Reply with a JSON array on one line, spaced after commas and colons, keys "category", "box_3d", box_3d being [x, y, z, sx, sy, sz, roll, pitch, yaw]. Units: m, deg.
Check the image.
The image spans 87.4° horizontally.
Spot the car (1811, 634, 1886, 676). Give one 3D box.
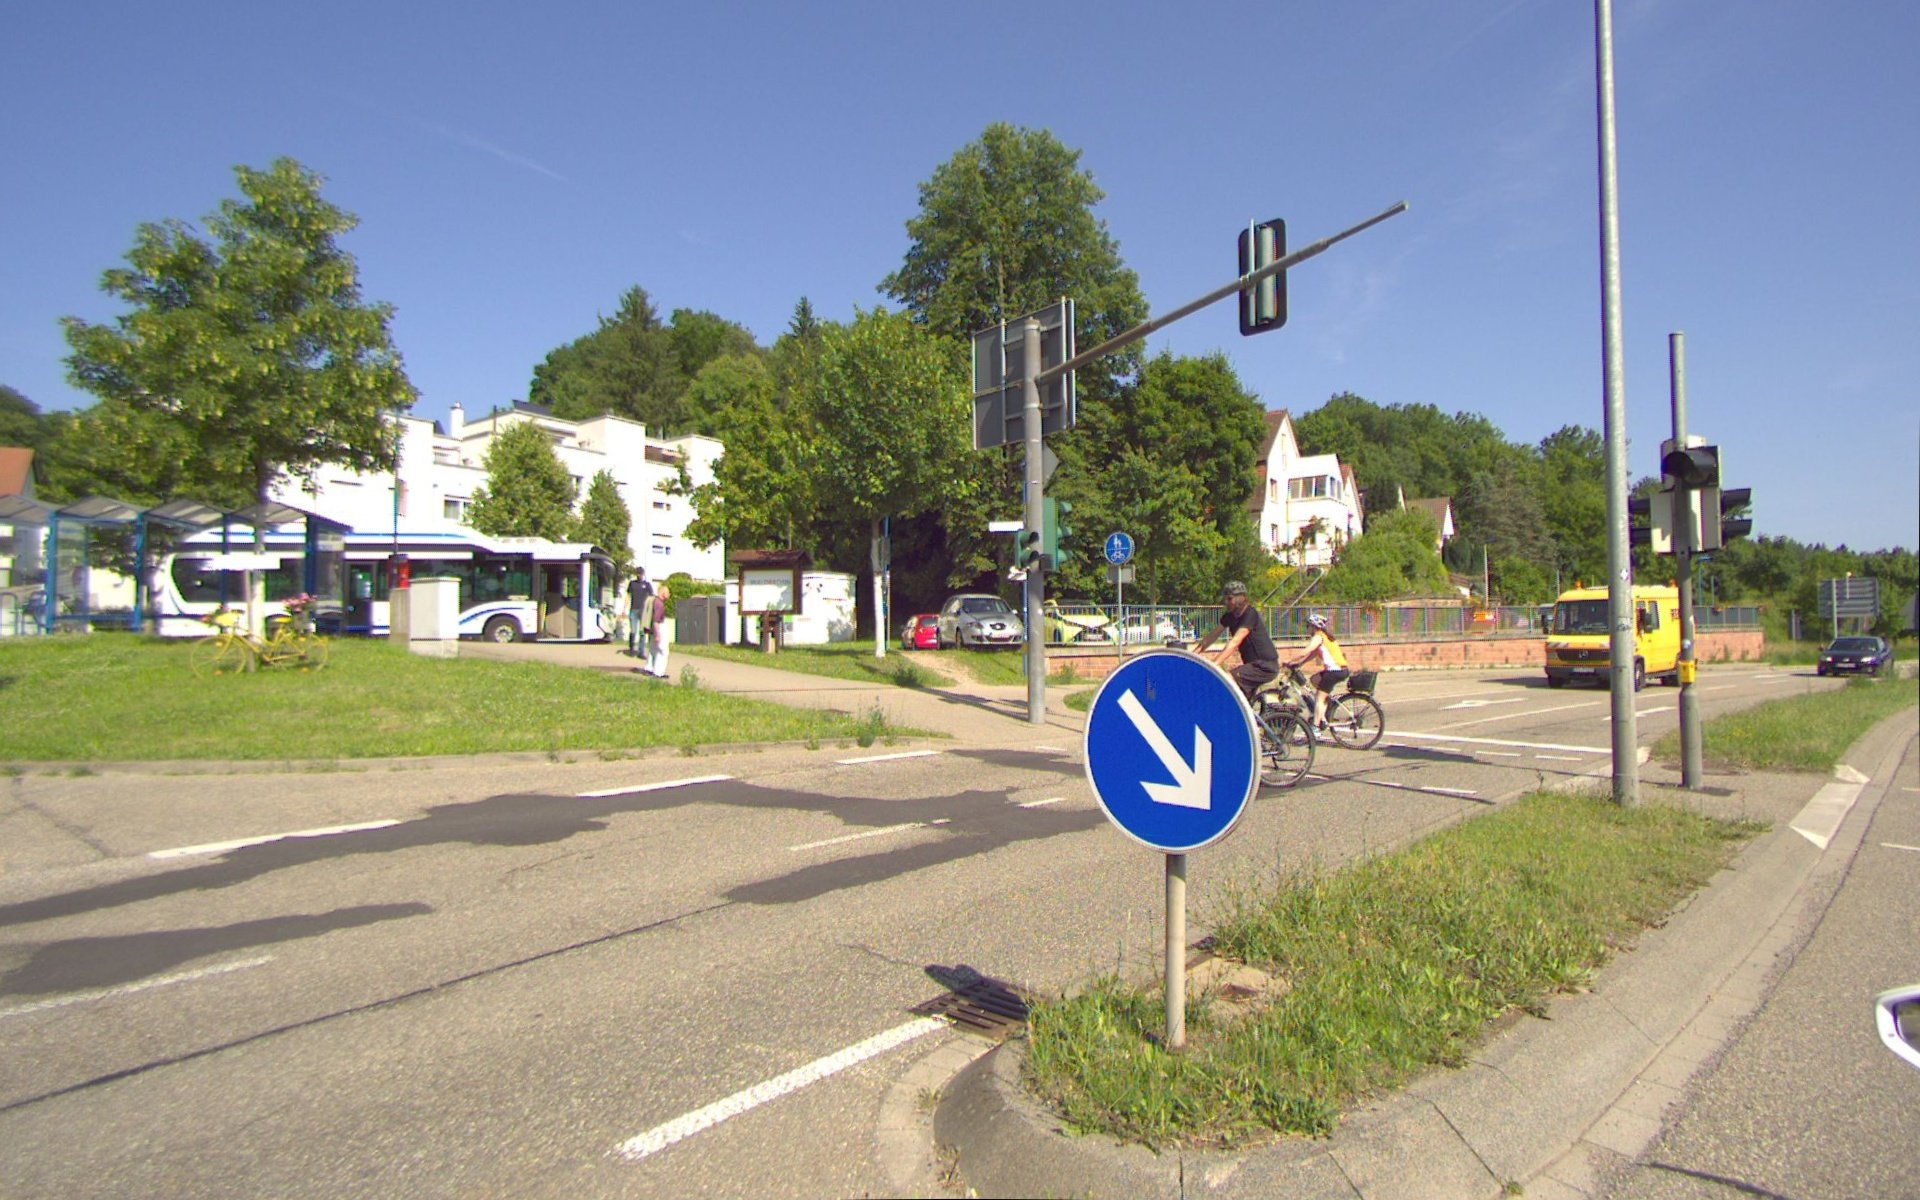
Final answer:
[{"category": "car", "box_3d": [32.625, 1.985, 36.856, 4.016, 1.481, 1.729, 2, -3, -44]}]

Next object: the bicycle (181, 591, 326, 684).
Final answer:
[{"category": "bicycle", "box_3d": [-10.635, 0.529, 15.157, 1.742, 1.273, 0.613, -2, 4, -40]}]

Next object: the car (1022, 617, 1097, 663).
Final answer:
[{"category": "car", "box_3d": [3.933, 1.565, 40.292, 1.964, 1.694, 3.992, 0, 0, -10]}]

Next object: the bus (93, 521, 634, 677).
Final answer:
[{"category": "bus", "box_3d": [-15.081, 0.026, 26.442, 11.994, 3.763, 2.865, 0, 0, -9]}]

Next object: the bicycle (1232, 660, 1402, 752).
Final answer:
[{"category": "bicycle", "box_3d": [4.644, 1.353, 13.128, 1.940, 1.078, 0.732, -3, -1, 35]}]

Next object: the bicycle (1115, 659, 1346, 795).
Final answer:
[{"category": "bicycle", "box_3d": [2.498, 1.169, 9.425, 1.961, 1.178, 0.735, 0, 0, -2]}]

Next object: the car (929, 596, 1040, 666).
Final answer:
[{"category": "car", "box_3d": [0.565, 0.778, 27.306, 2.021, 1.719, 4.405, 1, 0, -12]}]

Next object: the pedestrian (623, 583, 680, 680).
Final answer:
[{"category": "pedestrian", "box_3d": [-5.550, 0.552, 18.093, 0.736, 1.700, 0.703, 0, 0, -45]}]

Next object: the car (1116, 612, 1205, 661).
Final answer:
[{"category": "car", "box_3d": [8.291, 1.474, 41.867, 1.885, 1.900, 3.982, 0, 0, -20]}]

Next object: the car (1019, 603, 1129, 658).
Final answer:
[{"category": "car", "box_3d": [3.103, 0.809, 28.085, 1.881, 1.400, 3.990, 0, 0, -12]}]

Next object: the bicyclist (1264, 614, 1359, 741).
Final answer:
[{"category": "bicyclist", "box_3d": [4.617, 0.991, 13.198, 0.942, 1.585, 0.803, -2, -1, 38]}]

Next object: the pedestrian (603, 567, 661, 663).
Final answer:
[{"category": "pedestrian", "box_3d": [-6.870, 0.312, 21.025, 0.731, 1.933, 0.852, 3, 1, 44]}]

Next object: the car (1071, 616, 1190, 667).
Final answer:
[{"category": "car", "box_3d": [6.317, 1.543, 37.364, 3.930, 1.813, 1.918, 1, -2, -12]}]

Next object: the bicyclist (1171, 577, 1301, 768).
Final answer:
[{"category": "bicyclist", "box_3d": [2.573, 0.656, 9.447, 0.974, 1.713, 0.807, 0, 0, -2]}]

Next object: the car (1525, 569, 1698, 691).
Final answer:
[{"category": "car", "box_3d": [18.357, 0.846, 28.141, 6.417, 3.050, 2.445, 2, -1, -41]}]

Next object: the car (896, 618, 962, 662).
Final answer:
[{"category": "car", "box_3d": [-1.272, 1.521, 39.499, 1.881, 1.581, 3.990, 0, 0, -12]}]

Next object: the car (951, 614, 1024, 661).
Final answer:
[{"category": "car", "box_3d": [1.042, 1.445, 40.189, 1.882, 1.723, 3.987, 0, 0, -15]}]
